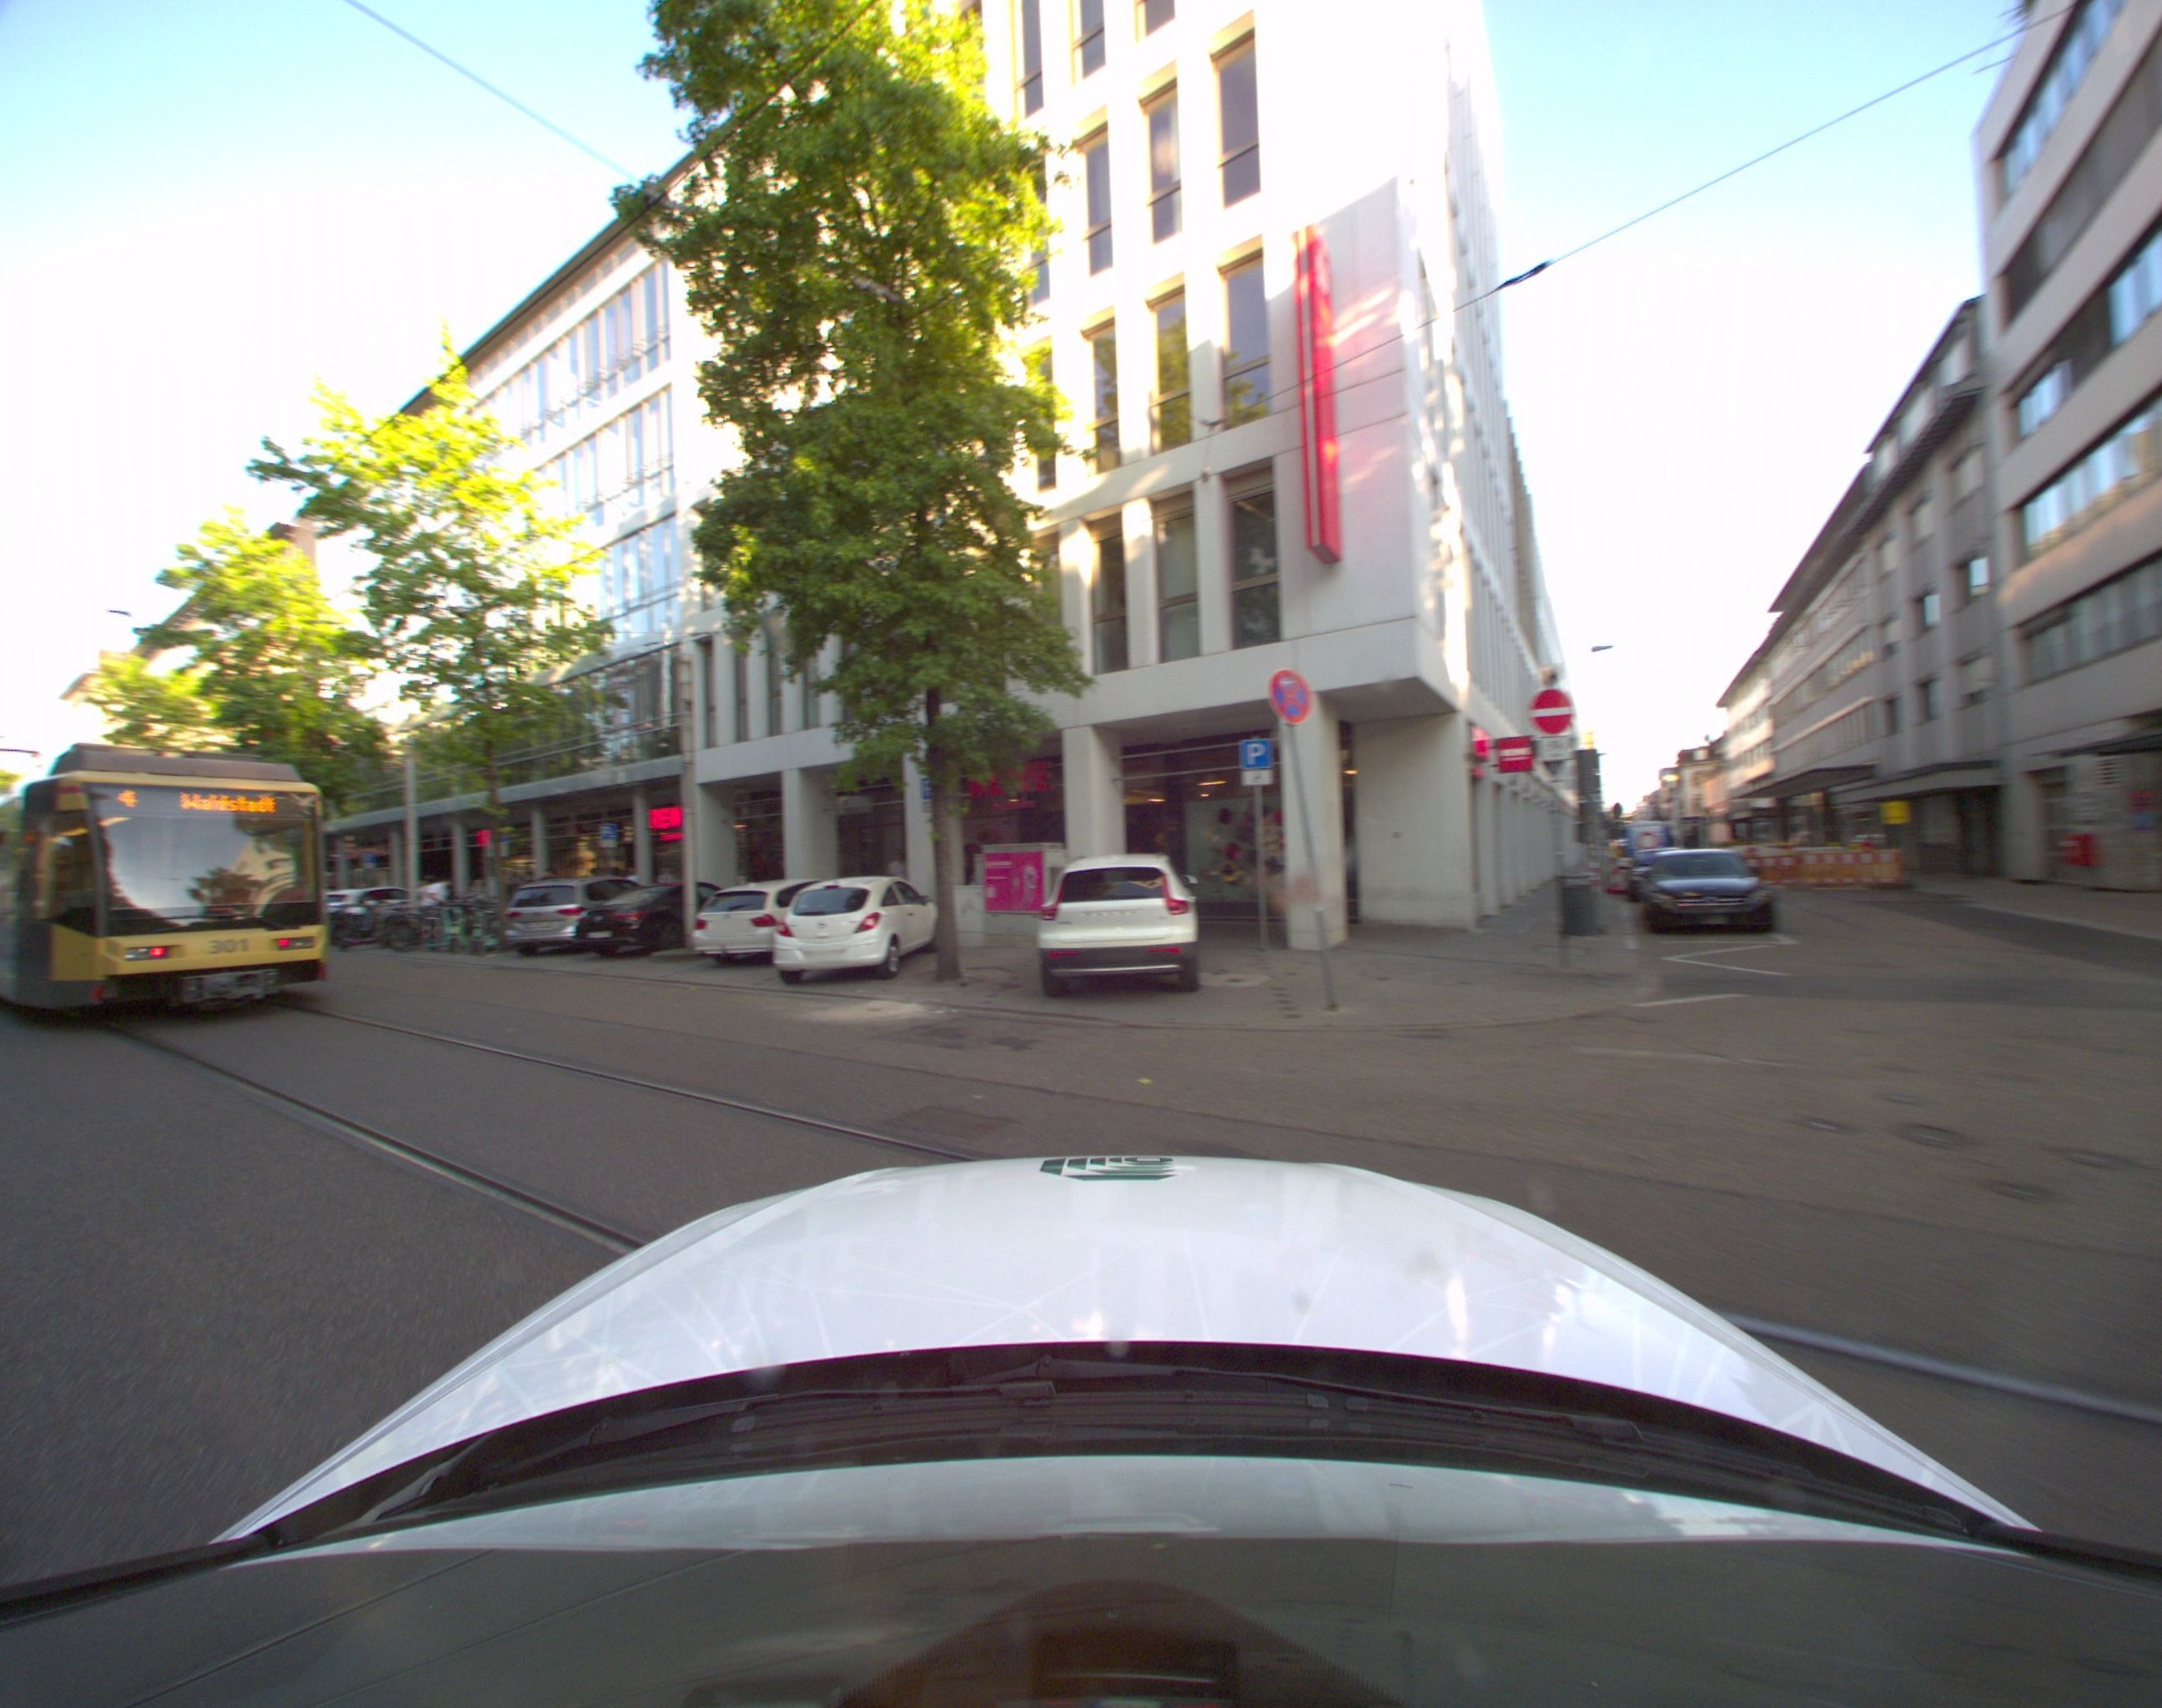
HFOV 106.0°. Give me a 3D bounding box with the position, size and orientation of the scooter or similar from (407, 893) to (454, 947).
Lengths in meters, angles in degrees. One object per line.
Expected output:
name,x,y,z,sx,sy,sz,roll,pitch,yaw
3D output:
scooter or similar,-15.762,1.593,19.727,1.198,1.222,0.487,-3,1,34

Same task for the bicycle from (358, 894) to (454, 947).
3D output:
bicycle,-17.406,1.689,21.075,0.675,1.130,1.995,-2,2,3

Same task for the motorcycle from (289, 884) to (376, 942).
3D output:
motorcycle,-21.923,1.706,23.926,0.794,1.471,2.197,-2,1,-11

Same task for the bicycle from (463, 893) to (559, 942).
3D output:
bicycle,-14.262,1.589,20.401,1.869,1.076,0.630,-2,2,-3

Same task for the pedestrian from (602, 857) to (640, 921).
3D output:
pedestrian,-13.617,1.025,24.125,0.707,1.812,0.664,-2,1,37

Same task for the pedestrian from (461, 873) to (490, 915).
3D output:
pedestrian,-23.187,1.538,31.200,0.656,1.548,0.686,-3,-2,32

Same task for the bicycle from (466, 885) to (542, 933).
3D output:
bicycle,-16.057,1.516,22.708,0.496,1.149,1.704,-2,2,18

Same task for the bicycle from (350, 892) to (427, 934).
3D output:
bicycle,-21.962,1.852,25.873,0.913,1.117,1.749,-3,1,-1

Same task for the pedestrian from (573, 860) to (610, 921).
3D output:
pedestrian,-14.776,1.094,24.588,0.736,1.753,0.708,-4,1,-44

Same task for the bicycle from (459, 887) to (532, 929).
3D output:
bicycle,-17.969,1.639,25.049,0.818,1.094,1.834,-2,0,2

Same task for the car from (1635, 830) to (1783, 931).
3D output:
car,11.585,0.441,15.252,1.879,1.612,4.178,-3,-1,35

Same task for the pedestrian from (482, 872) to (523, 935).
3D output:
pedestrian,-15.797,1.338,22.255,0.706,1.624,0.655,-3,1,-22

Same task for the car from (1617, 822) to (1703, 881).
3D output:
car,16.386,-0.076,23.111,1.756,1.475,4.178,-3,-1,35

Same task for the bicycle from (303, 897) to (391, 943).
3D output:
bicycle,-20.594,1.833,22.889,0.801,1.117,1.750,-2,1,1

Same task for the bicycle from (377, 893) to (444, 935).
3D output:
bicycle,-20.374,1.796,24.772,0.549,1.033,1.599,-3,4,4

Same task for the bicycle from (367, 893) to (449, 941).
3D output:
bicycle,-18.503,1.713,22.435,0.620,1.076,1.834,-2,2,2

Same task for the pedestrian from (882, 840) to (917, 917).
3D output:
pedestrian,-4.317,0.574,19.338,0.683,1.771,0.799,0,-1,-23

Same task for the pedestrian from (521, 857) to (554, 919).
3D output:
pedestrian,-16.505,1.007,24.734,0.661,1.812,0.710,-3,1,-27

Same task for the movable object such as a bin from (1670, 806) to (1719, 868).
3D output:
movable object such as a bin,25.737,-0.712,34.175,1.423,2.493,1.769,-2,-1,42

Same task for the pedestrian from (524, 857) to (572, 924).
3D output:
pedestrian,-15.205,1.016,23.258,0.888,1.812,0.930,-3,1,-22

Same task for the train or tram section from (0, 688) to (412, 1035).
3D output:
train or tram section,-14.105,0.258,12.255,10.236,3.524,3.046,-3,-1,32

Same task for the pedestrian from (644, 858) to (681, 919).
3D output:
pedestrian,-12.486,1.023,24.304,0.795,1.771,0.686,-1,-1,32

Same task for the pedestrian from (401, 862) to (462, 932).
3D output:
pedestrian,-18.690,1.217,23.457,0.852,1.913,0.957,-1,2,21

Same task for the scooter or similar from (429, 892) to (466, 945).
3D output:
scooter or similar,-15.755,1.594,20.257,0.573,1.204,1.266,-4,2,-43

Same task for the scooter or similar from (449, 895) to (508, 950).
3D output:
scooter or similar,-14.162,1.581,19.171,0.579,1.150,1.395,-2,1,-13

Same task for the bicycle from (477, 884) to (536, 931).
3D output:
bicycle,-16.695,1.539,23.700,0.552,1.189,1.693,-2,2,-5

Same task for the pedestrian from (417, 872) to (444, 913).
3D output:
pedestrian,-27.808,1.651,34.822,0.795,1.699,0.668,-3,-2,32

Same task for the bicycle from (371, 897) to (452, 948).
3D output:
bicycle,-17.082,1.726,20.828,0.490,1.076,1.750,-2,1,3

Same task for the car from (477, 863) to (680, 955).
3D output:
car,-11.623,1.173,19.318,1.944,1.639,4.672,-3,1,-2

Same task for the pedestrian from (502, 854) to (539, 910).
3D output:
pedestrian,-18.621,0.922,27.083,0.793,1.812,0.655,-3,1,-22

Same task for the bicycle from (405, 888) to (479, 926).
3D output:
bicycle,-21.696,1.785,27.677,0.927,1.117,1.754,-3,1,9

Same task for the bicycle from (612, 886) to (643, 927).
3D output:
bicycle,-13.129,1.489,23.570,0.576,1.083,1.863,-3,1,-34

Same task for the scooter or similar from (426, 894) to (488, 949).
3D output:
scooter or similar,-14.918,1.594,19.510,0.496,1.182,1.330,-2,0,-4

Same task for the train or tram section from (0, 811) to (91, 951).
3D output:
train or tram section,-31.713,0.874,23.205,10.704,3.524,3.032,-2,-1,32

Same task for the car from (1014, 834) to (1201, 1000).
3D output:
car,0.596,0.663,11.086,1.934,1.671,4.284,-4,1,9

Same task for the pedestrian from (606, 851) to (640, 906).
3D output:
pedestrian,-13.475,0.718,23.978,0.766,1.572,0.625,-2,0,-35

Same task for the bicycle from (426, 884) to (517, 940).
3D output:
bicycle,-16.012,1.510,21.462,0.674,1.273,1.841,-2,2,15

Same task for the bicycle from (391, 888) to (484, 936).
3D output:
bicycle,-18.485,1.650,23.457,0.691,1.148,2.009,-2,2,15

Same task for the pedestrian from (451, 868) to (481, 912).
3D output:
pedestrian,-24.036,1.388,31.830,0.795,1.699,0.686,-1,-1,32

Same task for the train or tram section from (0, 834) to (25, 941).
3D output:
train or tram section,-40.672,1.290,28.759,10.394,3.524,3.073,-2,-2,32

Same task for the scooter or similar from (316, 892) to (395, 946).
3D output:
scooter or similar,-19.217,1.711,21.597,1.387,1.304,0.695,-2,1,-6

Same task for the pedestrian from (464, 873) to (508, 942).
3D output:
pedestrian,-15.014,1.328,20.545,0.796,1.625,0.760,-3,1,-38

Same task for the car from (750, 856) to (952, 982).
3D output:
car,-3.497,0.914,13.280,1.782,1.501,4.073,-4,2,4

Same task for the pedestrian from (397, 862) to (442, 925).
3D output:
pedestrian,-19.963,1.186,24.578,0.597,1.812,0.817,-2,2,-5

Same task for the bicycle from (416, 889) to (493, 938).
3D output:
bicycle,-17.054,1.596,22.224,0.473,1.138,1.693,-2,2,13

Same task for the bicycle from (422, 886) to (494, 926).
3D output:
bicycle,-20.226,1.667,26.495,0.838,1.117,1.793,-3,1,4

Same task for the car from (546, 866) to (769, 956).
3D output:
car,-9.044,1.144,17.928,1.936,1.422,4.365,-3,2,11

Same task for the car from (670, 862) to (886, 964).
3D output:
car,-5.637,1.029,15.850,1.811,1.422,4.365,-3,2,12

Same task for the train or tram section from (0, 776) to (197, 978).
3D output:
train or tram section,-22.812,0.582,17.671,10.267,3.524,3.036,-2,-1,32

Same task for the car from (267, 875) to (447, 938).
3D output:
car,-23.637,1.645,26.859,1.865,1.562,4.345,-3,2,1
